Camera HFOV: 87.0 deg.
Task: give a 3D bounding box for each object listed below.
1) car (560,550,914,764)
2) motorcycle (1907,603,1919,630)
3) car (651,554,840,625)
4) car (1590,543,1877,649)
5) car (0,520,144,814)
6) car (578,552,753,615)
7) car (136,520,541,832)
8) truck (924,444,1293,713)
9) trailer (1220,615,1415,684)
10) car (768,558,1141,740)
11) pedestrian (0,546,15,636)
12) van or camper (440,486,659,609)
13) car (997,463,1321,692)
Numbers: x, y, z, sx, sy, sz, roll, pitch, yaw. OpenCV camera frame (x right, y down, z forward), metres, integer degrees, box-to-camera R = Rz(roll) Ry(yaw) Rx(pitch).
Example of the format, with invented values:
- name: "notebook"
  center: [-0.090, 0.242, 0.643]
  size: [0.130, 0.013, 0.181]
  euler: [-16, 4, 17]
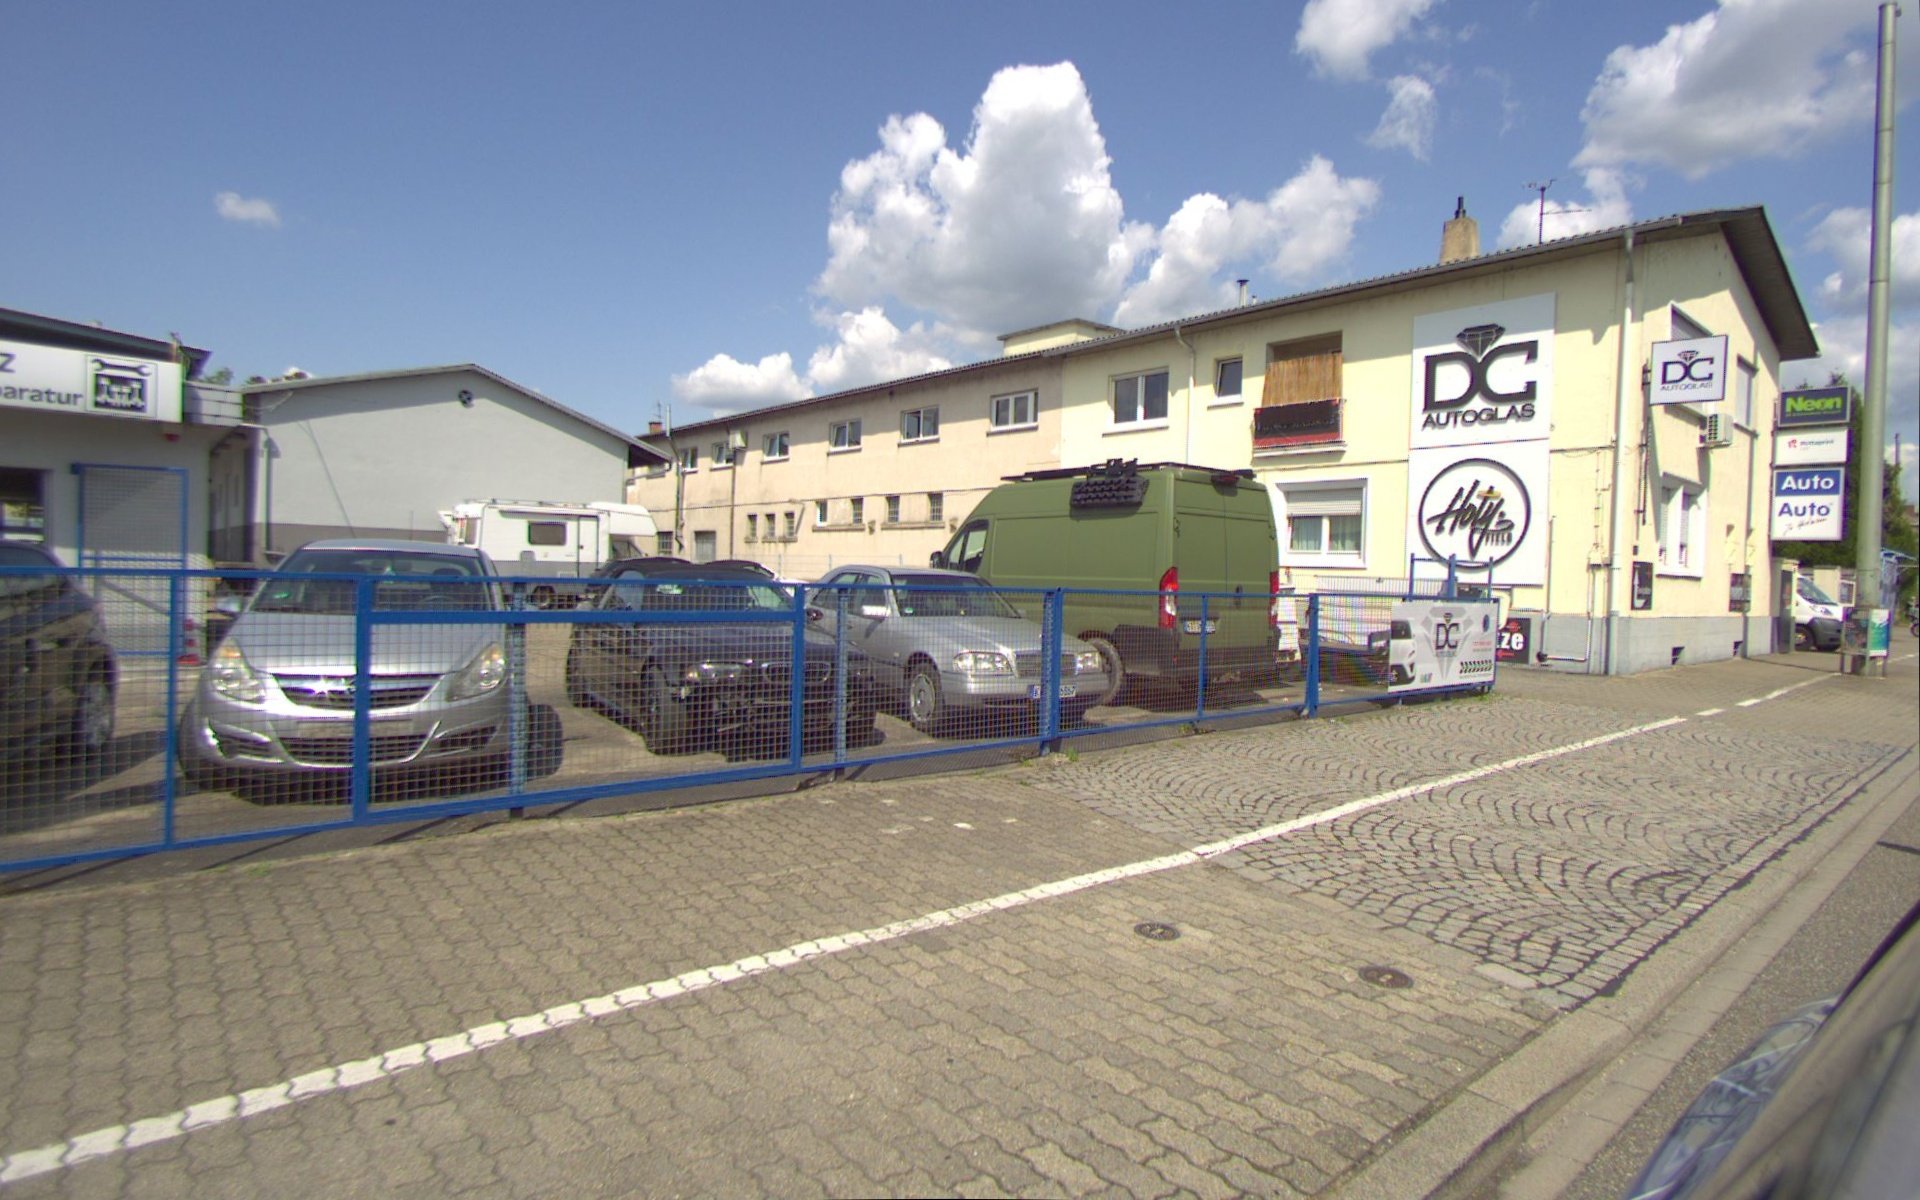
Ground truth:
- name: "car"
  center: [-2.128, 0.308, 8.744]
  size: [1.768, 1.403, 3.837]
  euler: [1, 2, -32]
- name: "motorcycle"
  center: [43.666, 0.799, 44.417]
  size: [0.868, 1.185, 2.907]
  euler: [1, 2, -26]
- name: "car"
  center: [-4.930, -0.248, 23.517]
  size: [3.939, 1.497, 1.719]
  euler: [0, 2, -41]
- name: "car"
  center: [21.588, -0.234, 28.570]
  size: [1.963, 2.404, 5.989]
  euler: [1, 5, -38]
- name: "car"
  center: [-5.750, 0.322, 5.032]
  size: [1.685, 1.497, 4.012]
  euler: [1, 2, -25]
- name: "car"
  center: [-7.483, -0.413, 25.888]
  size: [3.939, 1.497, 1.719]
  euler: [0, 2, -41]
- name: "car"
  center: [-3.954, 0.300, 7.100]
  size: [1.766, 1.497, 4.158]
  euler: [1, 2, -24]
- name: "truck"
  center: [1.619, -0.287, 12.144]
  size: [2.033, 2.639, 3.996]
  euler: [1, 2, -40]
- name: "trailer"
  center: [5.078, 0.668, 14.527]
  size: [1.245, 0.776, 2.330]
  euler: [0, 2, -39]
- name: "car"
  center: [-0.300, 0.318, 10.204]
  size: [1.768, 1.413, 4.216]
  euler: [1, 2, -33]
- name: "pedestrian"
  center: [-13.262, -0.131, 13.839]
  size: [0.479, 1.228, 0.501]
  euler: [1, 1, -42]
- name: "van or camper"
  center: [-11.012, -1.326, 27.366]
  size: [4.971, 2.999, 2.284]
  euler: [0, 2, -42]
- name: "car"
  center: [2.608, -0.347, 14.141]
  size: [1.771, 2.702, 4.208]
  euler: [1, 2, -40]
